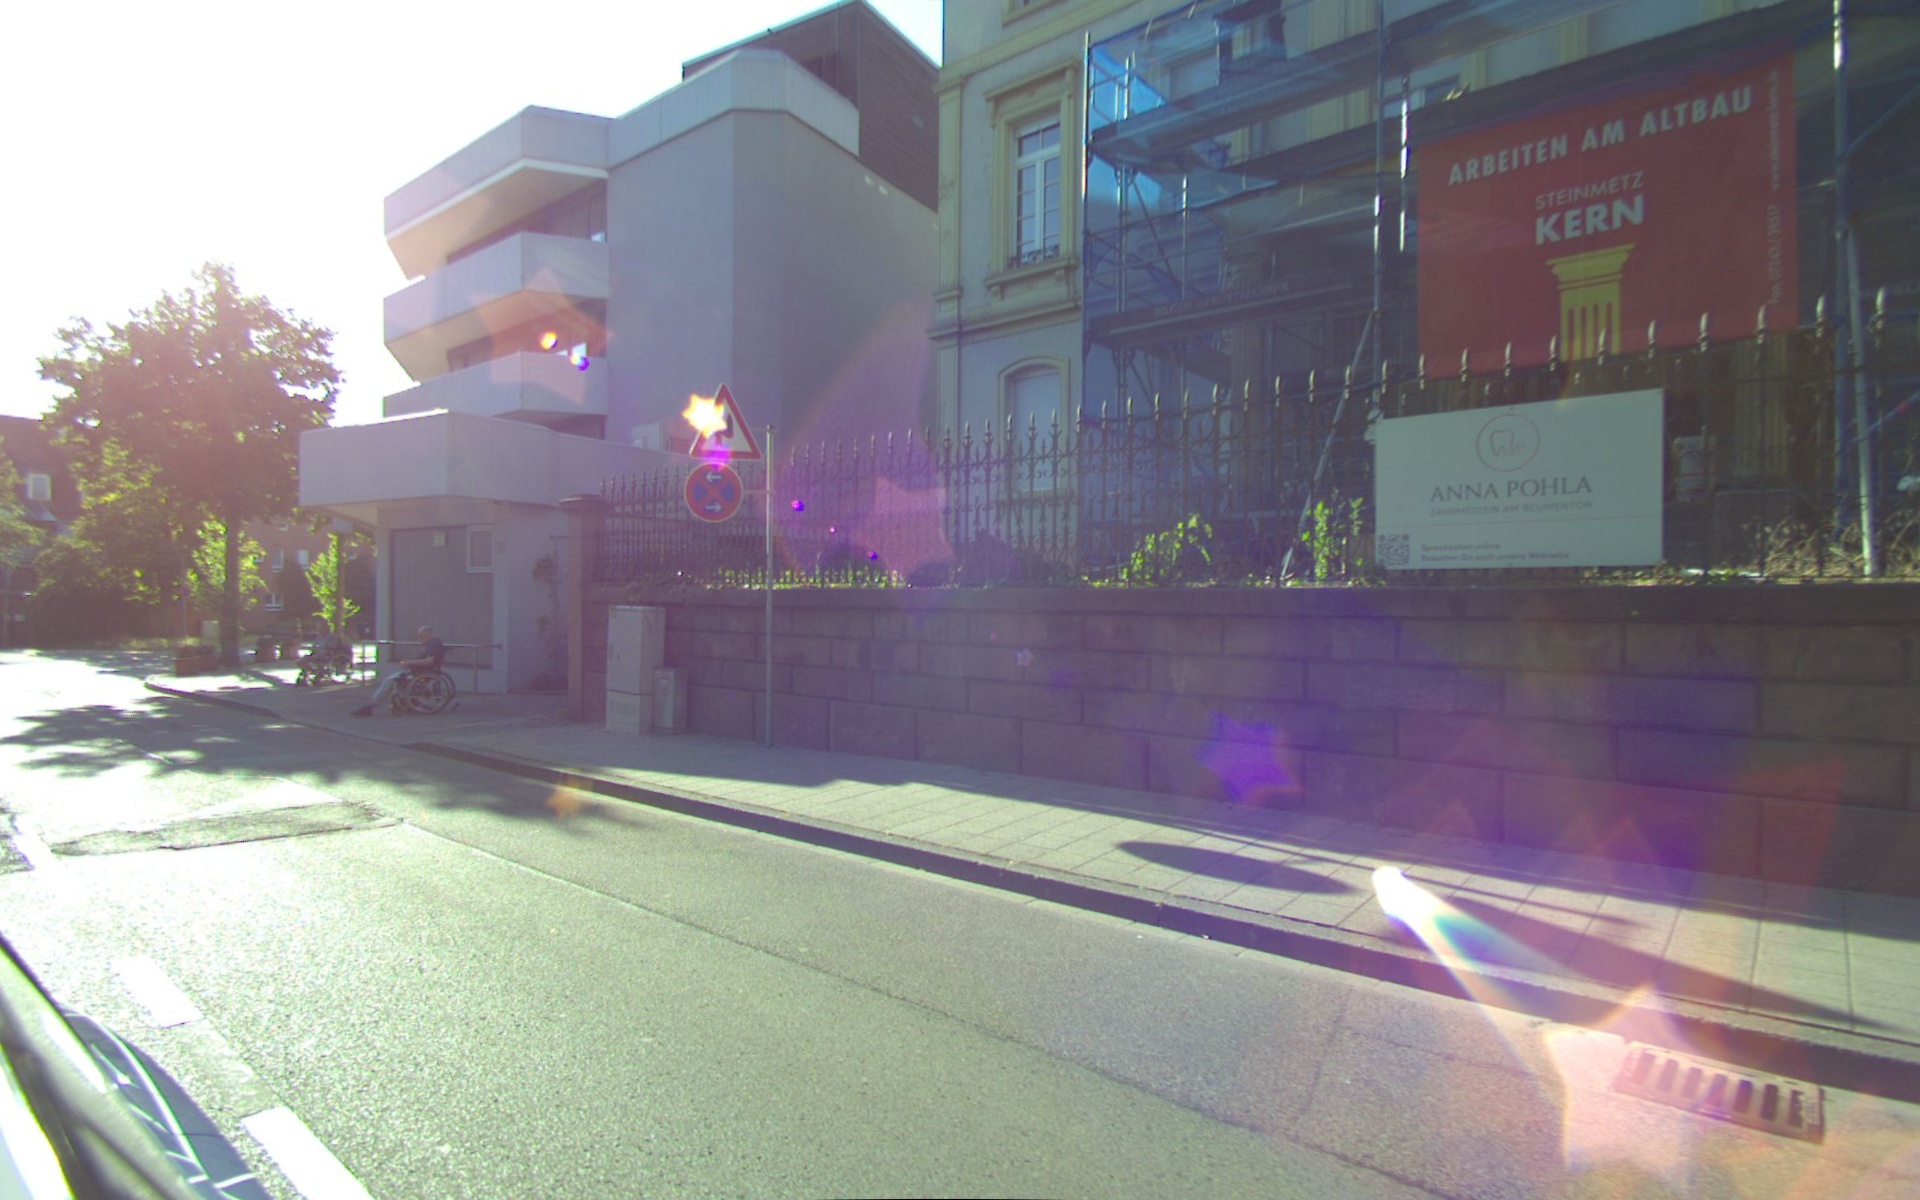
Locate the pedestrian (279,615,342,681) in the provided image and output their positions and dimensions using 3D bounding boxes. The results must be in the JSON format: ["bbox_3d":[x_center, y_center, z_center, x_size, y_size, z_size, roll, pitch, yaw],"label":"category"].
[{"bbox_3d":[-12.458,0.908,19.414,0.839,1.194,0.734,0,2,34],"label":"pedestrian"}]

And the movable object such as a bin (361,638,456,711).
[{"bbox_3d":[-7.980,1.062,14.696,1.020,0.935,0.843,-1,1,-14],"label":"movable object such as a bin"}]

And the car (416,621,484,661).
[{"bbox_3d":[-33.814,2.699,67.095,4.187,2.376,1.982,1,1,26],"label":"car"}]

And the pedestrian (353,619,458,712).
[{"bbox_3d":[-8.016,0.926,14.691,1.139,1.238,0.843,-1,1,-14],"label":"pedestrian"}]

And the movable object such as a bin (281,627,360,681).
[{"bbox_3d":[-12.354,1.032,19.551,0.838,0.935,1.026,0,2,34],"label":"movable object such as a bin"}]
